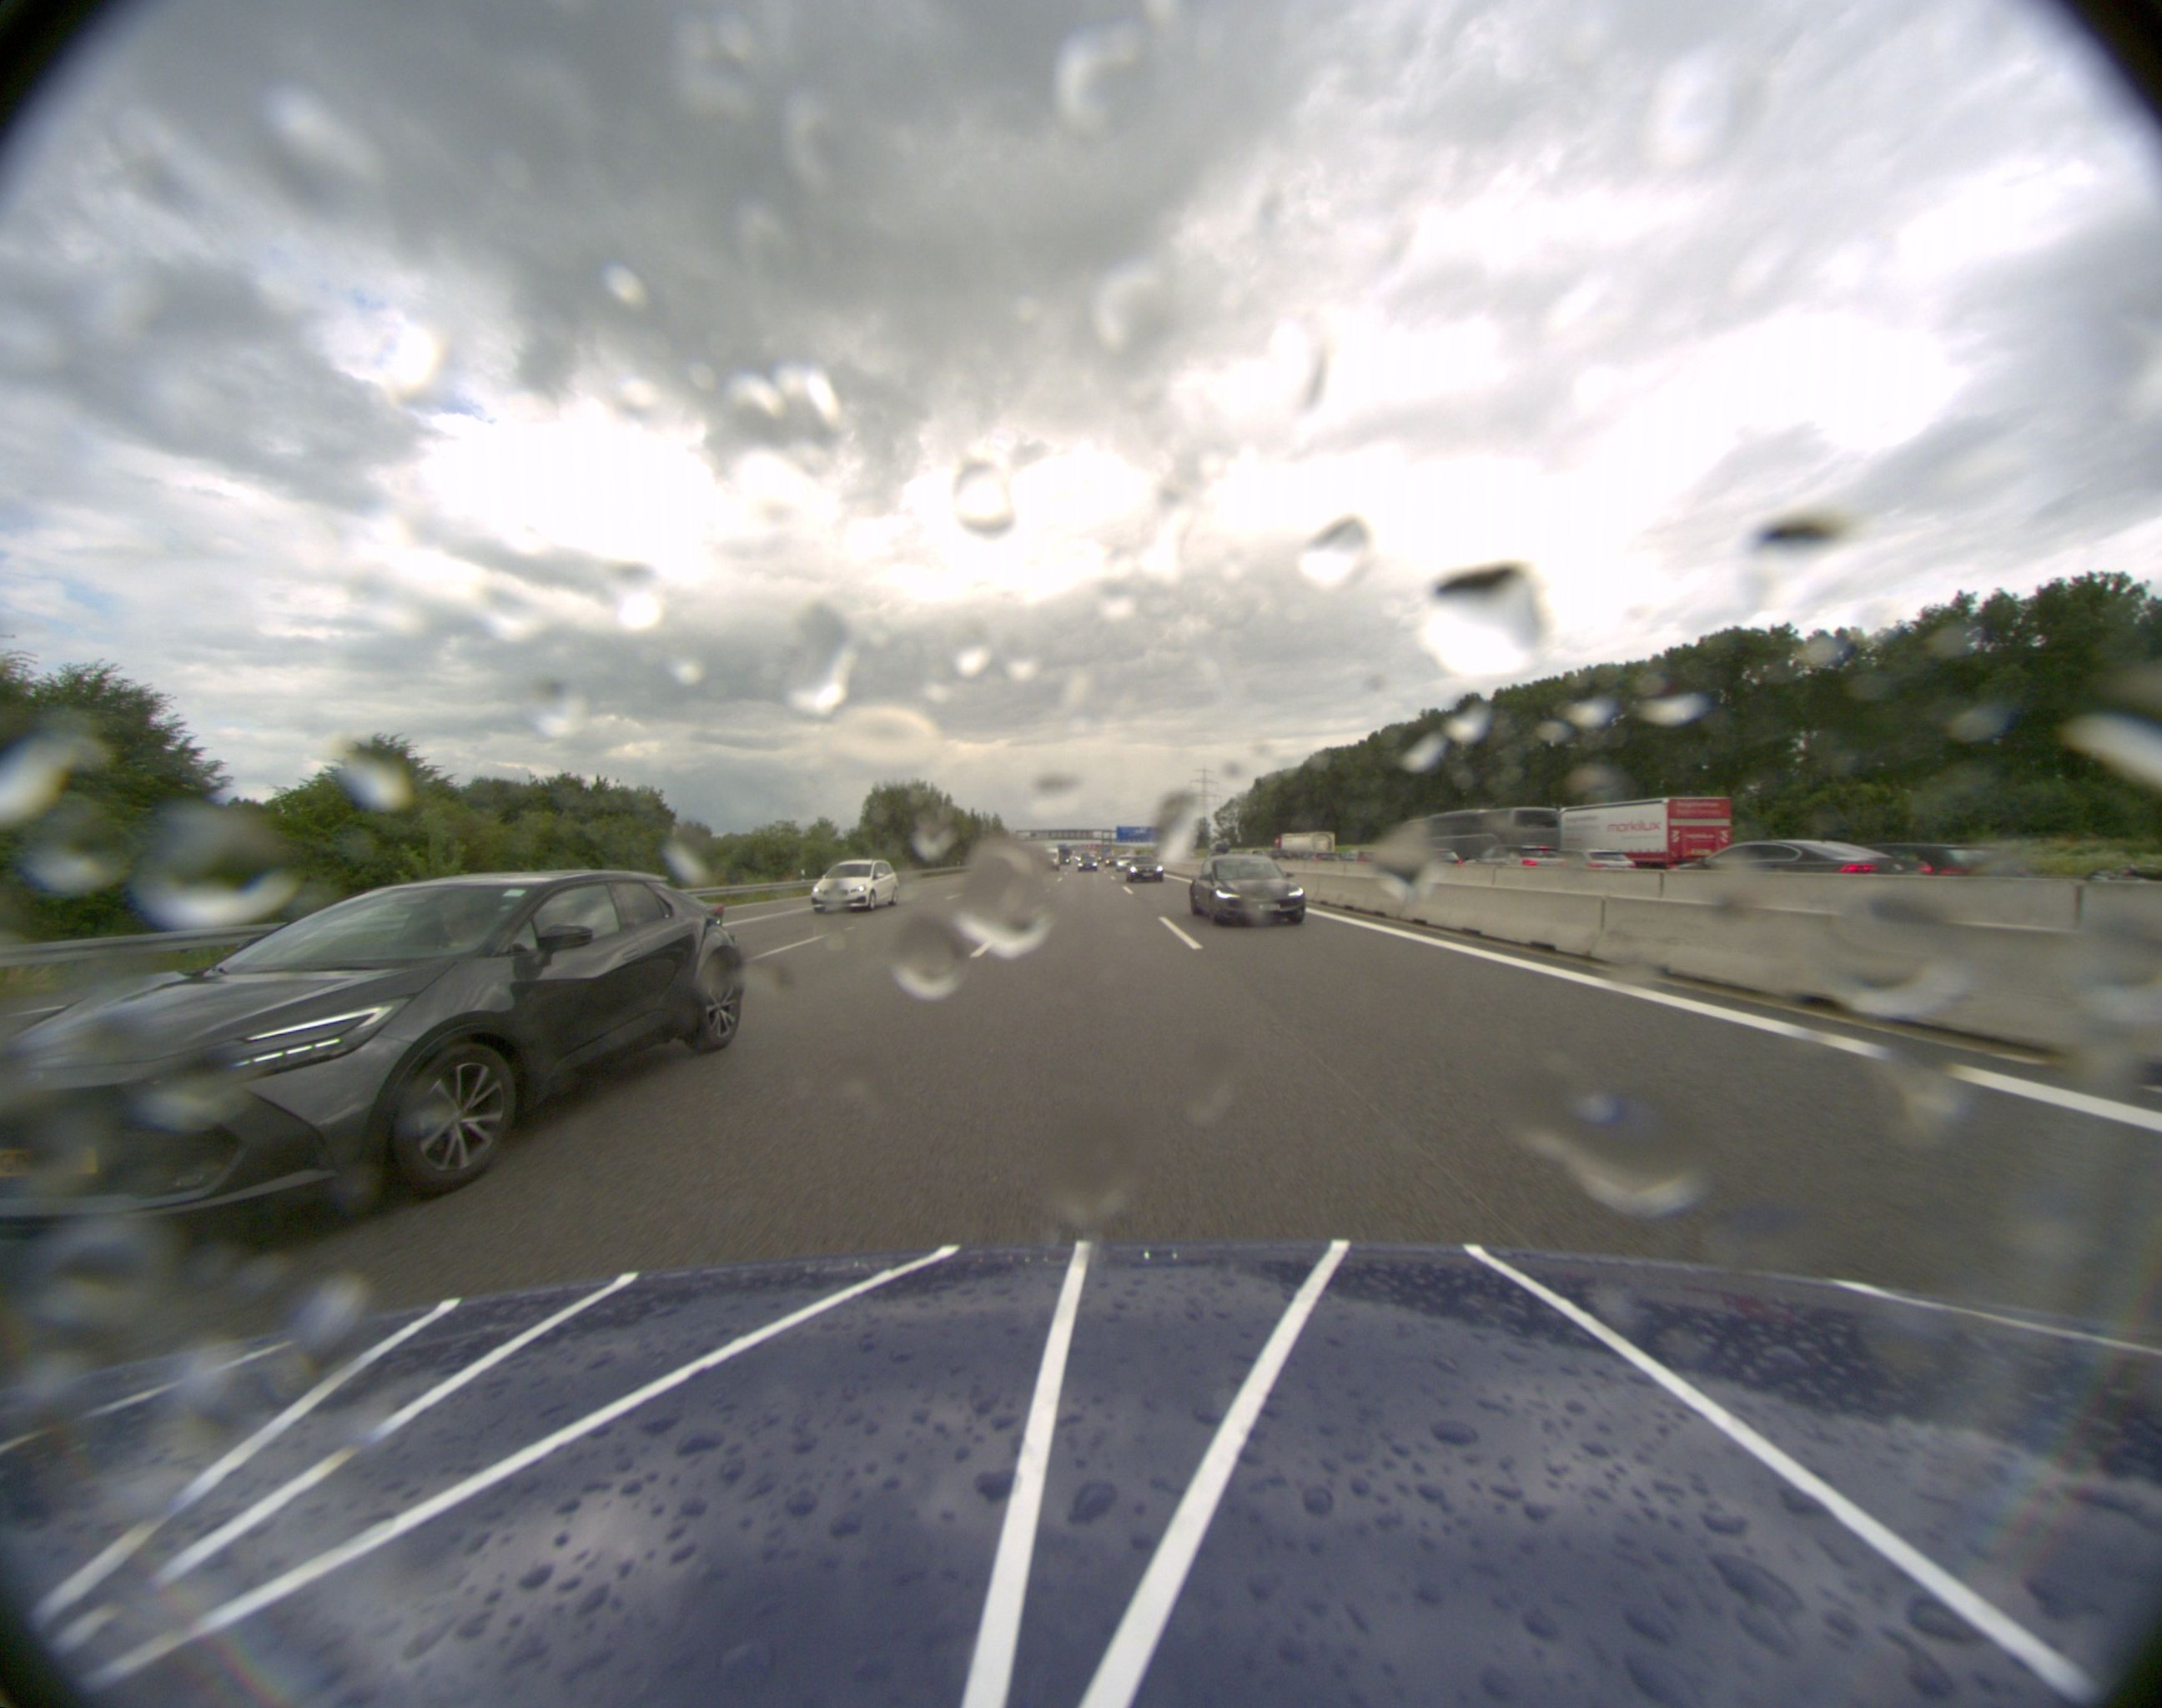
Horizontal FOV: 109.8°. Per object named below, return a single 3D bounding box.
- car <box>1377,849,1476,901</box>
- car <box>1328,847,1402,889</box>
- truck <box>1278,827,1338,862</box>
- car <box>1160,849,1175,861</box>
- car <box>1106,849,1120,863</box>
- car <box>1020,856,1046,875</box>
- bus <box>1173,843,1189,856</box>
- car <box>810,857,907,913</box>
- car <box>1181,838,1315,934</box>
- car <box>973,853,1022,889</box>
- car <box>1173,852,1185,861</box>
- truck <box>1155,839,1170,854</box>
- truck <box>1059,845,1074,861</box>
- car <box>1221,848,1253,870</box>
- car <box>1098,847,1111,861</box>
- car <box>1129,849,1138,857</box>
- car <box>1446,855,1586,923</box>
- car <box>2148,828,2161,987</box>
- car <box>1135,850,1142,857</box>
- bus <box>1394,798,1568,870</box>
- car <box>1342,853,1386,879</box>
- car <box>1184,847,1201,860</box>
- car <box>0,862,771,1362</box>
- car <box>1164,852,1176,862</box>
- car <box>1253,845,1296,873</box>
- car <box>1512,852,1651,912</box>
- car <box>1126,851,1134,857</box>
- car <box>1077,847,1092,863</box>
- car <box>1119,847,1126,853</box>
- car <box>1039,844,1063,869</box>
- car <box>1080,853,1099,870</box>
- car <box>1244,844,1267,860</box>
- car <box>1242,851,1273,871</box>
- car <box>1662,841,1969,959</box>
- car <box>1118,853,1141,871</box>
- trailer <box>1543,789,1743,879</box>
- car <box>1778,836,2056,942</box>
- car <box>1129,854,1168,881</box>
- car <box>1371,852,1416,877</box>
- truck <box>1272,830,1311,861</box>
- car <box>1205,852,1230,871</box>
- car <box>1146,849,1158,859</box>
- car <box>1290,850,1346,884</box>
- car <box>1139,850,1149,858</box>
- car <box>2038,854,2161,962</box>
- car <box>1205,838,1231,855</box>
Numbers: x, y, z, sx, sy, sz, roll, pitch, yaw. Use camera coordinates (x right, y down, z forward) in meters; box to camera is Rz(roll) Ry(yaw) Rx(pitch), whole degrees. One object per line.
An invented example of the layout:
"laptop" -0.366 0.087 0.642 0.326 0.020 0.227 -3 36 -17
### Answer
"car" 14.160 0.803 31.477 1.998 1.956 4.696 -2 0 1
"car" 14.279 0.667 38.507 1.998 1.956 4.696 -2 0 1
"truck" 26.465 -1.086 89.479 3.156 3.723 13.298 -2 0 0
"car" 14.655 0.136 128.563 1.998 2.002 4.264 -2 0 0
"car" 3.973 0.234 95.271 1.711 1.621 4.000 -2 0 2
"car" -4.076 0.953 65.030 1.945 1.482 4.774 -2 0 -1
"bus" 25.993 -1.220 198.550 2.838 3.313 9.963 -2 0 1
"car" -7.213 0.951 25.154 1.815 1.589 4.695 -2 0 0
"car" 3.569 0.616 17.289 1.998 1.810 5.163 -2 0 2
"car" -4.089 0.792 37.892 1.711 1.621 4.457 -2 0 2
"car" 21.849 0.480 169.446 1.999 2.002 4.808 -2 0 -1
"truck" 25.602 -2.296 238.701 3.156 4.288 13.950 -2 0 0
"truck" -2.480 -0.202 130.703 2.391 2.726 6.592 -2 0 -2
"car" 14.319 0.442 69.850 1.998 1.956 4.696 -2 0 1
"car" 4.376 0.029 140.946 2.145 2.486 5.448 -2 0 3
"car" 13.919 -0.199 201.414 1.998 2.002 4.763 -2 0 0
"car" 14.346 1.068 25.431 1.998 2.002 4.696 -2 0 1
"car" 14.520 0.649 7.147 1.998 2.002 4.972 -2 0 1
"car" 17.975 -0.147 237.919 1.999 1.922 4.637 -2 0 -1
"bus" 22.090 -0.984 43.470 2.694 3.365 13.997 -2 0 1
"car" 22.950 0.929 61.790 1.998 2.002 4.227 -2 0 0
"car" 15.244 -0.050 103.824 1.808 1.709 4.000 -2 0 1
"car" -3.828 0.912 4.850 1.785 1.603 4.597 -2 0 0
"car" 18.096 0.635 154.357 1.854 2.002 4.536 -2 0 -1
"car" 14.426 0.358 56.958 1.998 1.956 4.696 -2 0 1
"car" 18.103 0.923 27.780 1.998 1.956 4.696 -2 0 1
"car" 14.119 -0.024 218.486 1.999 1.842 5.077 -1 0 0
"car" 0.590 0.169 125.064 2.145 2.486 5.448 -2 0 2
"car" 13.343 -1.301 244.371 1.999 1.886 5.186 -2 0 -1
"car" -3.149 0.229 81.132 2.145 2.486 5.448 -2 0 1
"car" 0.843 0.694 73.500 1.711 1.562 4.347 -2 0 2
"car" 22.319 -0.265 97.254 1.998 1.936 4.212 -2 0 1
"car" 18.190 0.671 78.423 1.998 1.892 4.930 -2 0 0
"car" 14.404 0.791 15.348 1.998 2.002 4.349 -2 0 1
"car" 4.394 0.696 69.059 1.822 1.565 4.000 -2 0 0
"trailer" 26.215 -0.852 36.283 2.867 3.740 9.160 -1 0 1
"car" 17.927 0.677 16.597 1.998 2.002 3.711 -2 0 1
"car" 3.616 0.706 41.371 1.922 1.407 4.001 -1 0 2
"car" 26.236 0.840 64.023 1.998 2.002 4.425 -2 0 1
"truck" 26.527 -1.081 95.854 3.158 3.690 6.318 -2 0 1
"car" 15.250 0.826 85.109 1.998 1.956 4.696 -2 0 1
"car" 15.520 0.043 166.023 1.999 2.002 5.181 -2 0 -1
"car" 14.513 0.747 46.849 1.998 1.956 4.696 -2 0 1
"car" 14.907 0.031 179.869 1.999 1.844 4.635 -2 0 -2
"car" 21.749 1.033 14.433 2.122 2.002 4.000 -2 0 1
"car" 18.497 -1.025 102.717 2.265 2.152 6.817 -2 0 1
